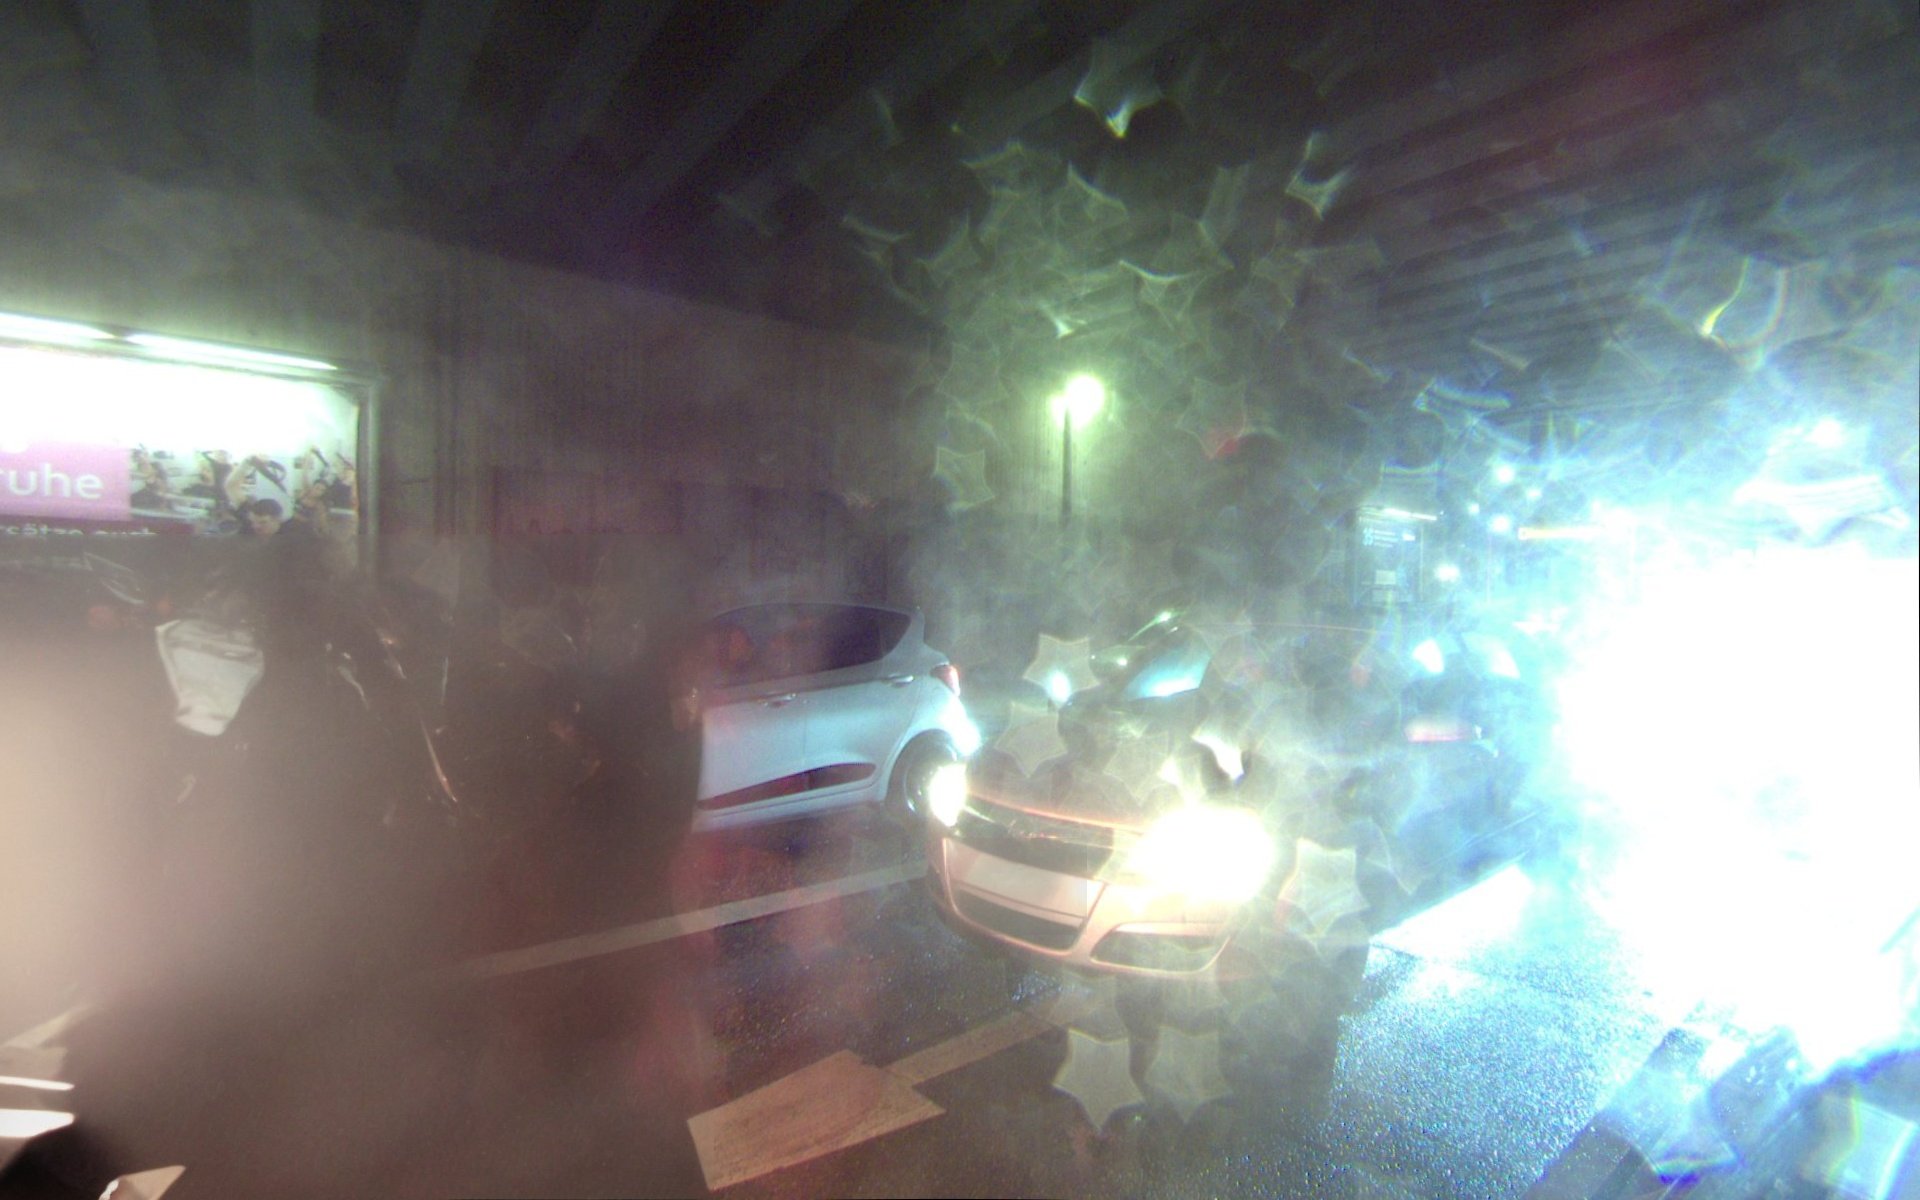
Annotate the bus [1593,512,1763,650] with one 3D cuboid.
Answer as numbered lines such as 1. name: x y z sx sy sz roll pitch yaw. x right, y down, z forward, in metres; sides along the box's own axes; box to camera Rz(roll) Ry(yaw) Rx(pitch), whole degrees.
1. bus: 20.495 -0.545 28.590 2.733 3.278 9.551 1 1 43

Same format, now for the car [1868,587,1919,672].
1. car: 18.530 0.521 19.215 1.749 1.464 3.916 3 3 40

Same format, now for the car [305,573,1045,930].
1. car: -1.509 0.602 6.281 4.091 1.464 1.723 -1 3 -42

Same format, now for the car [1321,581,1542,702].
1. car: 7.152 0.501 15.146 1.721 1.505 4.096 3 3 44

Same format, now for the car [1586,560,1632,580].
1. car: 46.344 -2.136 72.340 1.685 1.407 3.979 0 1 17

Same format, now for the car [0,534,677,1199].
1. car: -2.668 0.627 0.971 4.308 1.464 1.723 -1 3 -42

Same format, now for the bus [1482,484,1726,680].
1. bus: 14.033 -0.398 21.569 2.733 3.318 9.551 1 1 43

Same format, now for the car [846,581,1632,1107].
1. car: 1.620 0.654 4.863 4.091 1.464 1.723 -1 2 -42

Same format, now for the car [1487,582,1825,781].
1. car: 6.782 0.623 9.695 4.091 1.506 1.722 -1 -2 -42

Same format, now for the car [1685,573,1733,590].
1. car: 68.840 -1.720 93.064 1.574 1.556 4.304 0 1 7

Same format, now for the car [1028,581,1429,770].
1. car: 2.956 0.578 10.455 4.705 1.505 1.723 -1 2 -42
